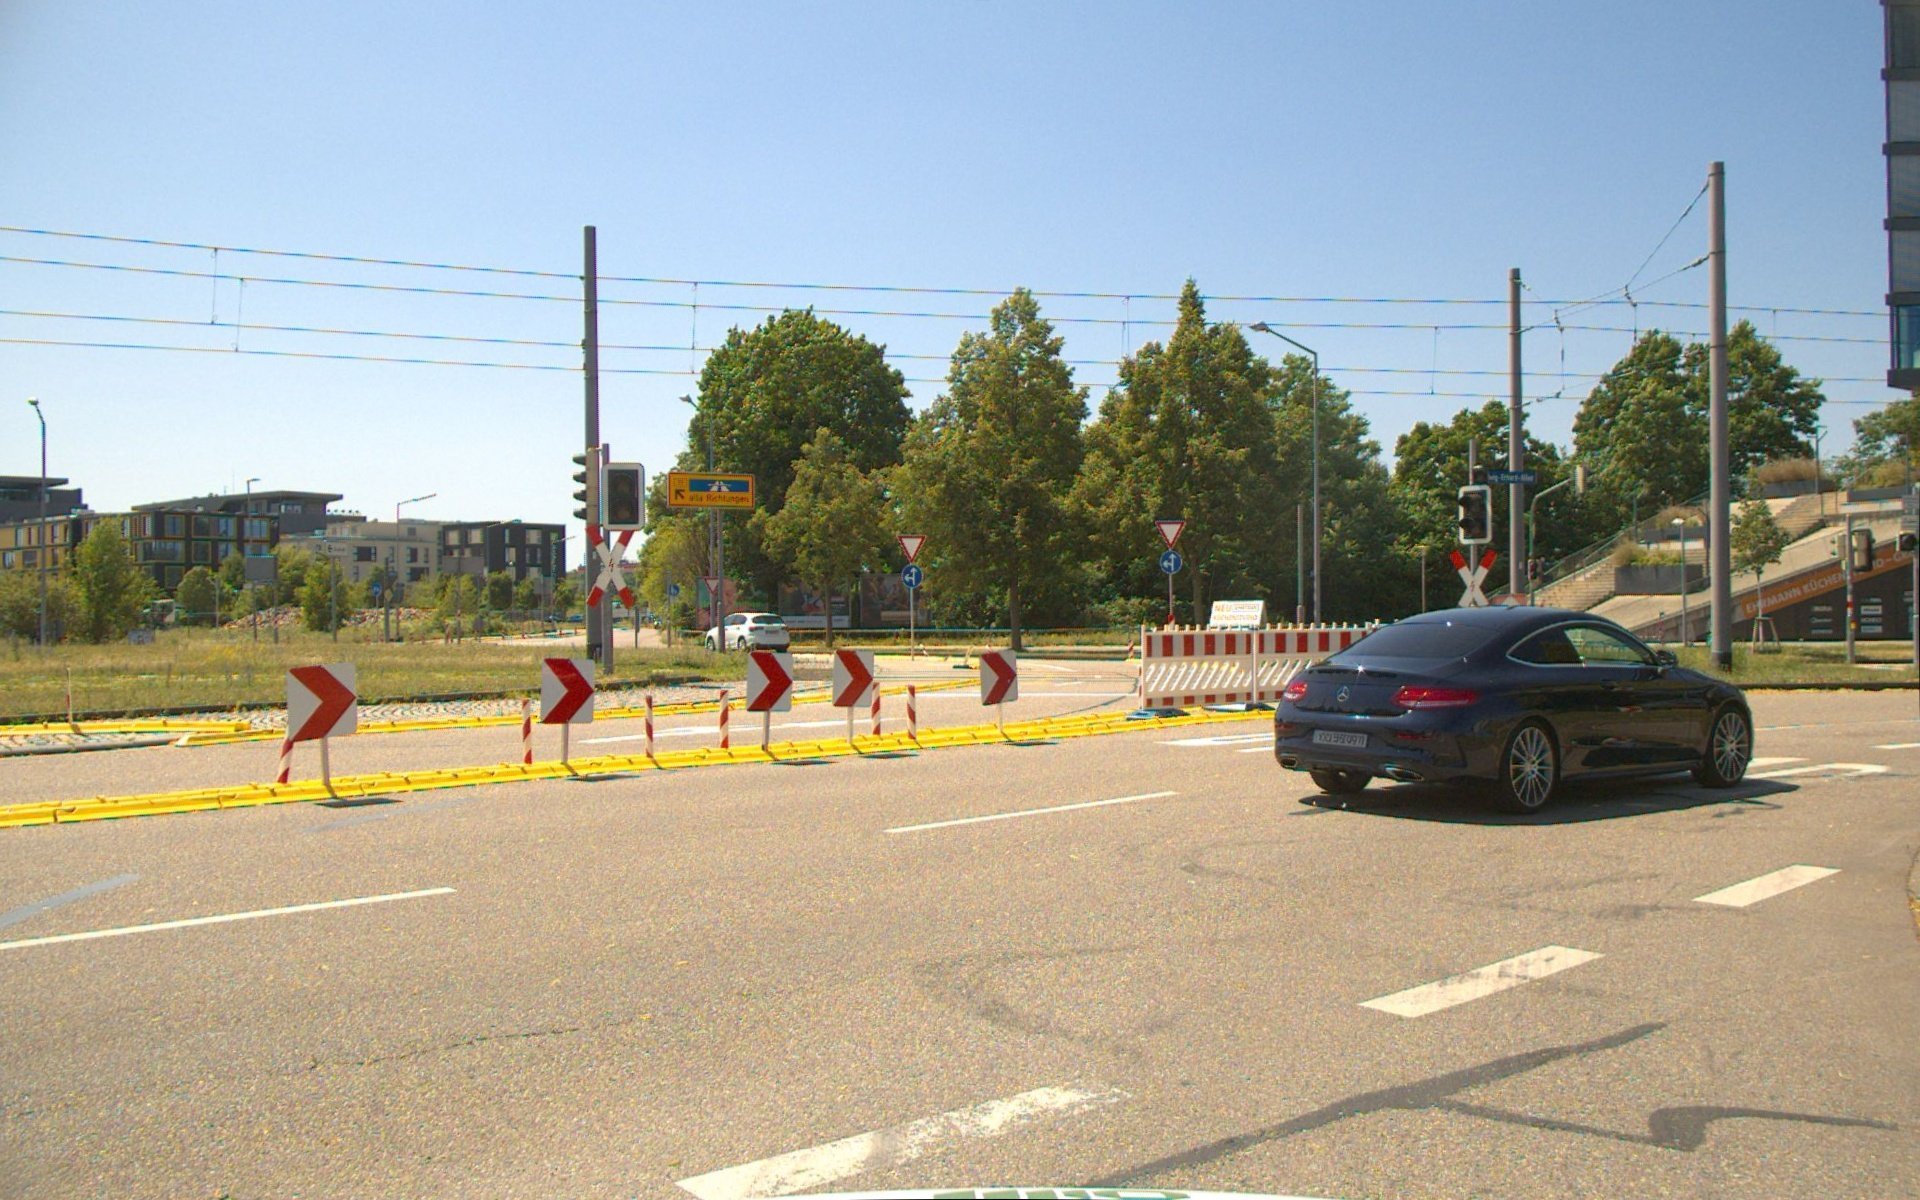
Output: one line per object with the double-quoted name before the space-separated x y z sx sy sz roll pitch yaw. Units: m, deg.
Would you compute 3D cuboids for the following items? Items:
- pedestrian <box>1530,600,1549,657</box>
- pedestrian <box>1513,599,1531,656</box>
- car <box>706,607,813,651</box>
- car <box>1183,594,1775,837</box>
"pedestrian" 18.036 0.883 51.488 0.439 1.769 0.318 0 -1 -5
"pedestrian" 17.487 0.861 51.456 0.439 1.769 0.291 0 -1 -5
"car" -7.351 1.033 60.290 1.979 1.512 4.308 -1 0 -37
"car" 4.003 0.695 12.287 4.907 1.461 1.832 0 0 -39
